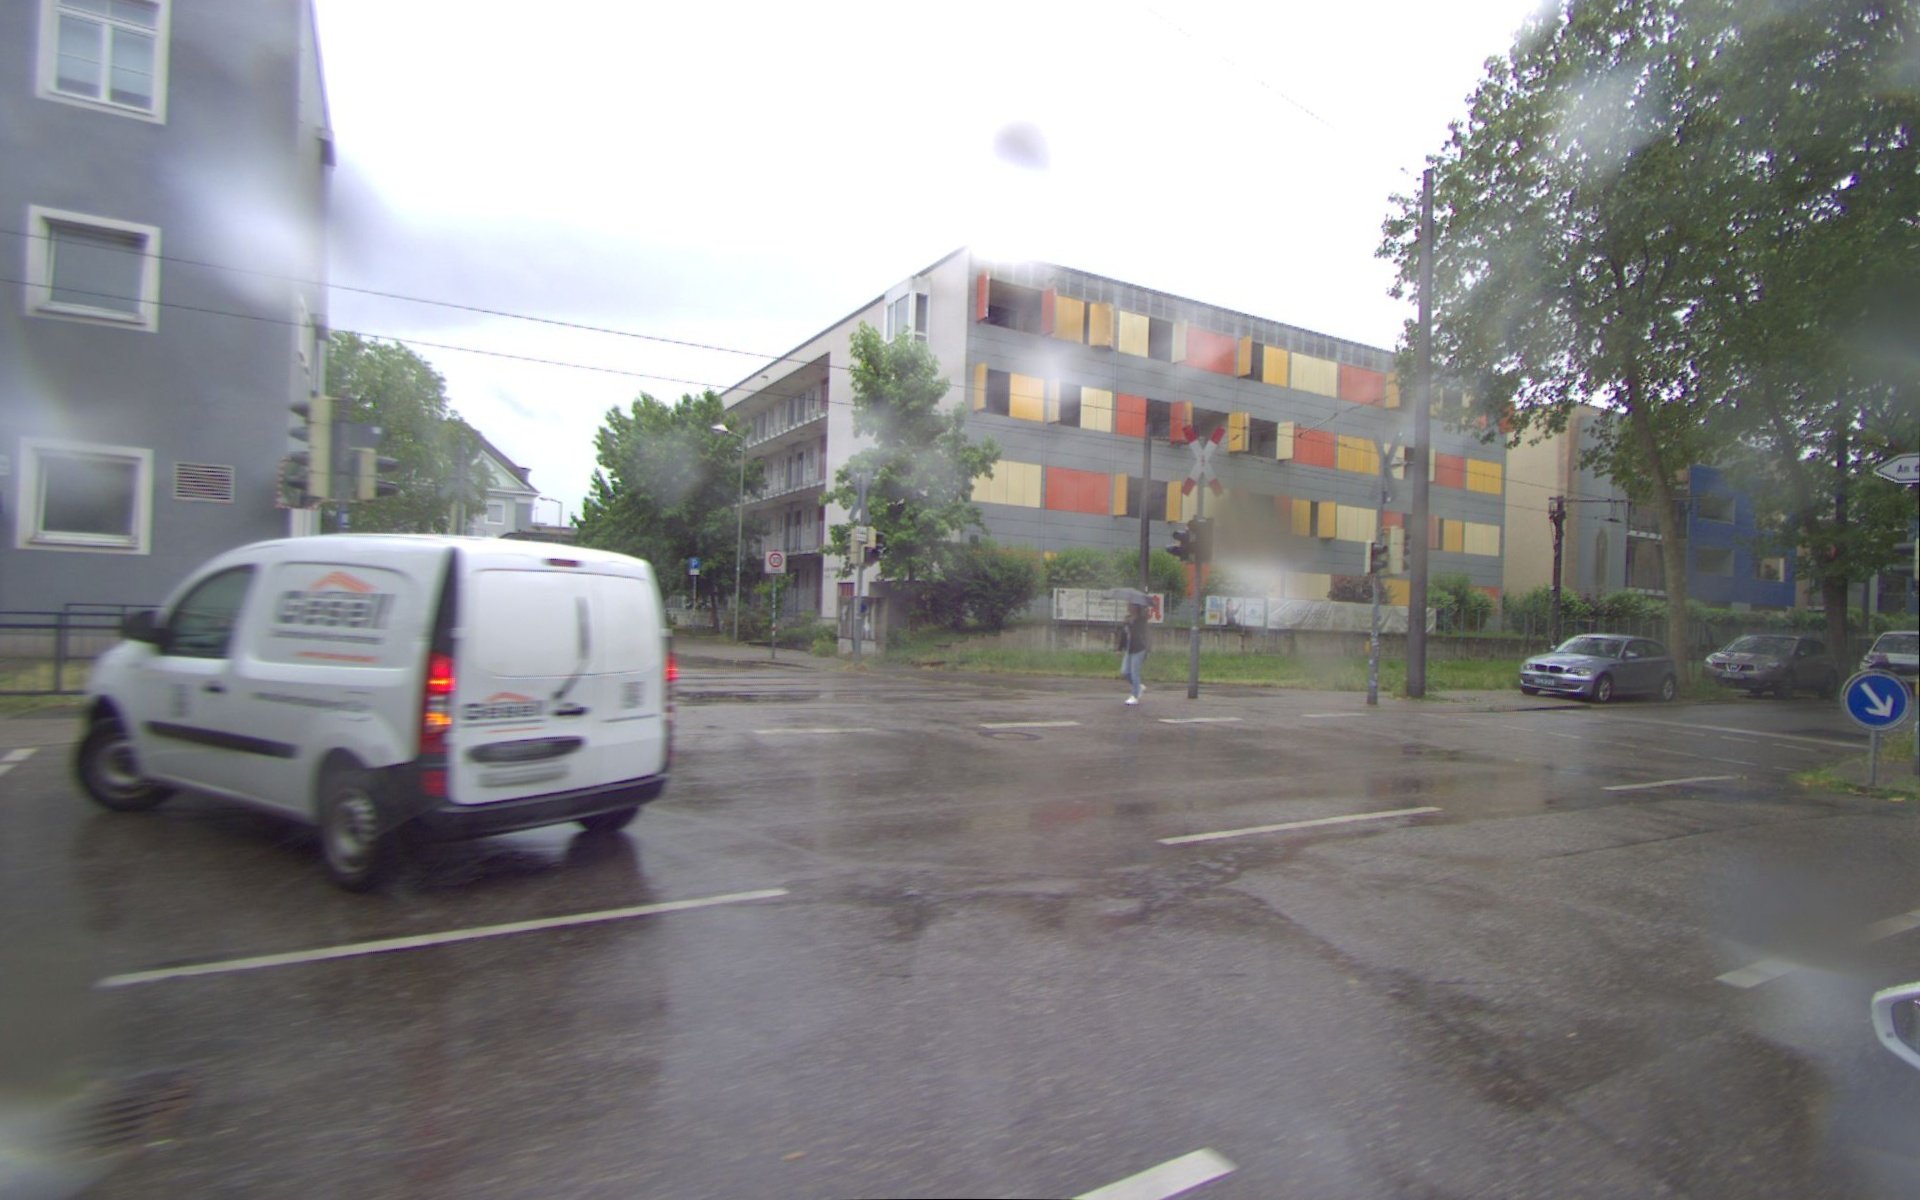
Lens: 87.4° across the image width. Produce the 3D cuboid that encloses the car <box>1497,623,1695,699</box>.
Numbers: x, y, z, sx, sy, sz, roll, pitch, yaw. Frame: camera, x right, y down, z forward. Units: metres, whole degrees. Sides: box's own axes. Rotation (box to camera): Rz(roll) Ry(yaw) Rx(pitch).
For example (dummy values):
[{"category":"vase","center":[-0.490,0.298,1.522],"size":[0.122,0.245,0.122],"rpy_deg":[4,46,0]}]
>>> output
[{"category":"car","center":[14.285,1.350,22.531],"size":[4.335,1.483,1.895],"rpy_deg":[2,0,-29]}]

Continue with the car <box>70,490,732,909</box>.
[{"category":"car","center":[-3.620,0.400,6.367],"size":[3.995,1.874,1.934],"rpy_deg":[2,0,32]}]

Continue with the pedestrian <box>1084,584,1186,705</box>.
[{"category":"pedestrian","center":[2.741,0.690,15.778],"size":[1.192,1.824,0.931],"rpy_deg":[3,-1,-31]}]

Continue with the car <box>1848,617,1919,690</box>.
[{"category":"car","center":[30.076,1.691,31.468],"size":[5.379,2.024,2.041],"rpy_deg":[2,1,-34]}]

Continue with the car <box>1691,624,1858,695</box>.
[{"category":"car","center":[20.960,1.507,25.812],"size":[4.415,1.621,1.895],"rpy_deg":[2,0,-30]}]

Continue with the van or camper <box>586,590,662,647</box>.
[{"category":"van or camper","center":[-13.520,0.726,40.291],"size":[1.978,2.040,3.965],"rpy_deg":[3,0,-31]}]

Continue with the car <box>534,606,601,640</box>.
[{"category":"car","center":[-17.260,0.992,44.104],"size":[1.979,1.328,3.963],"rpy_deg":[2,-1,-33]}]
